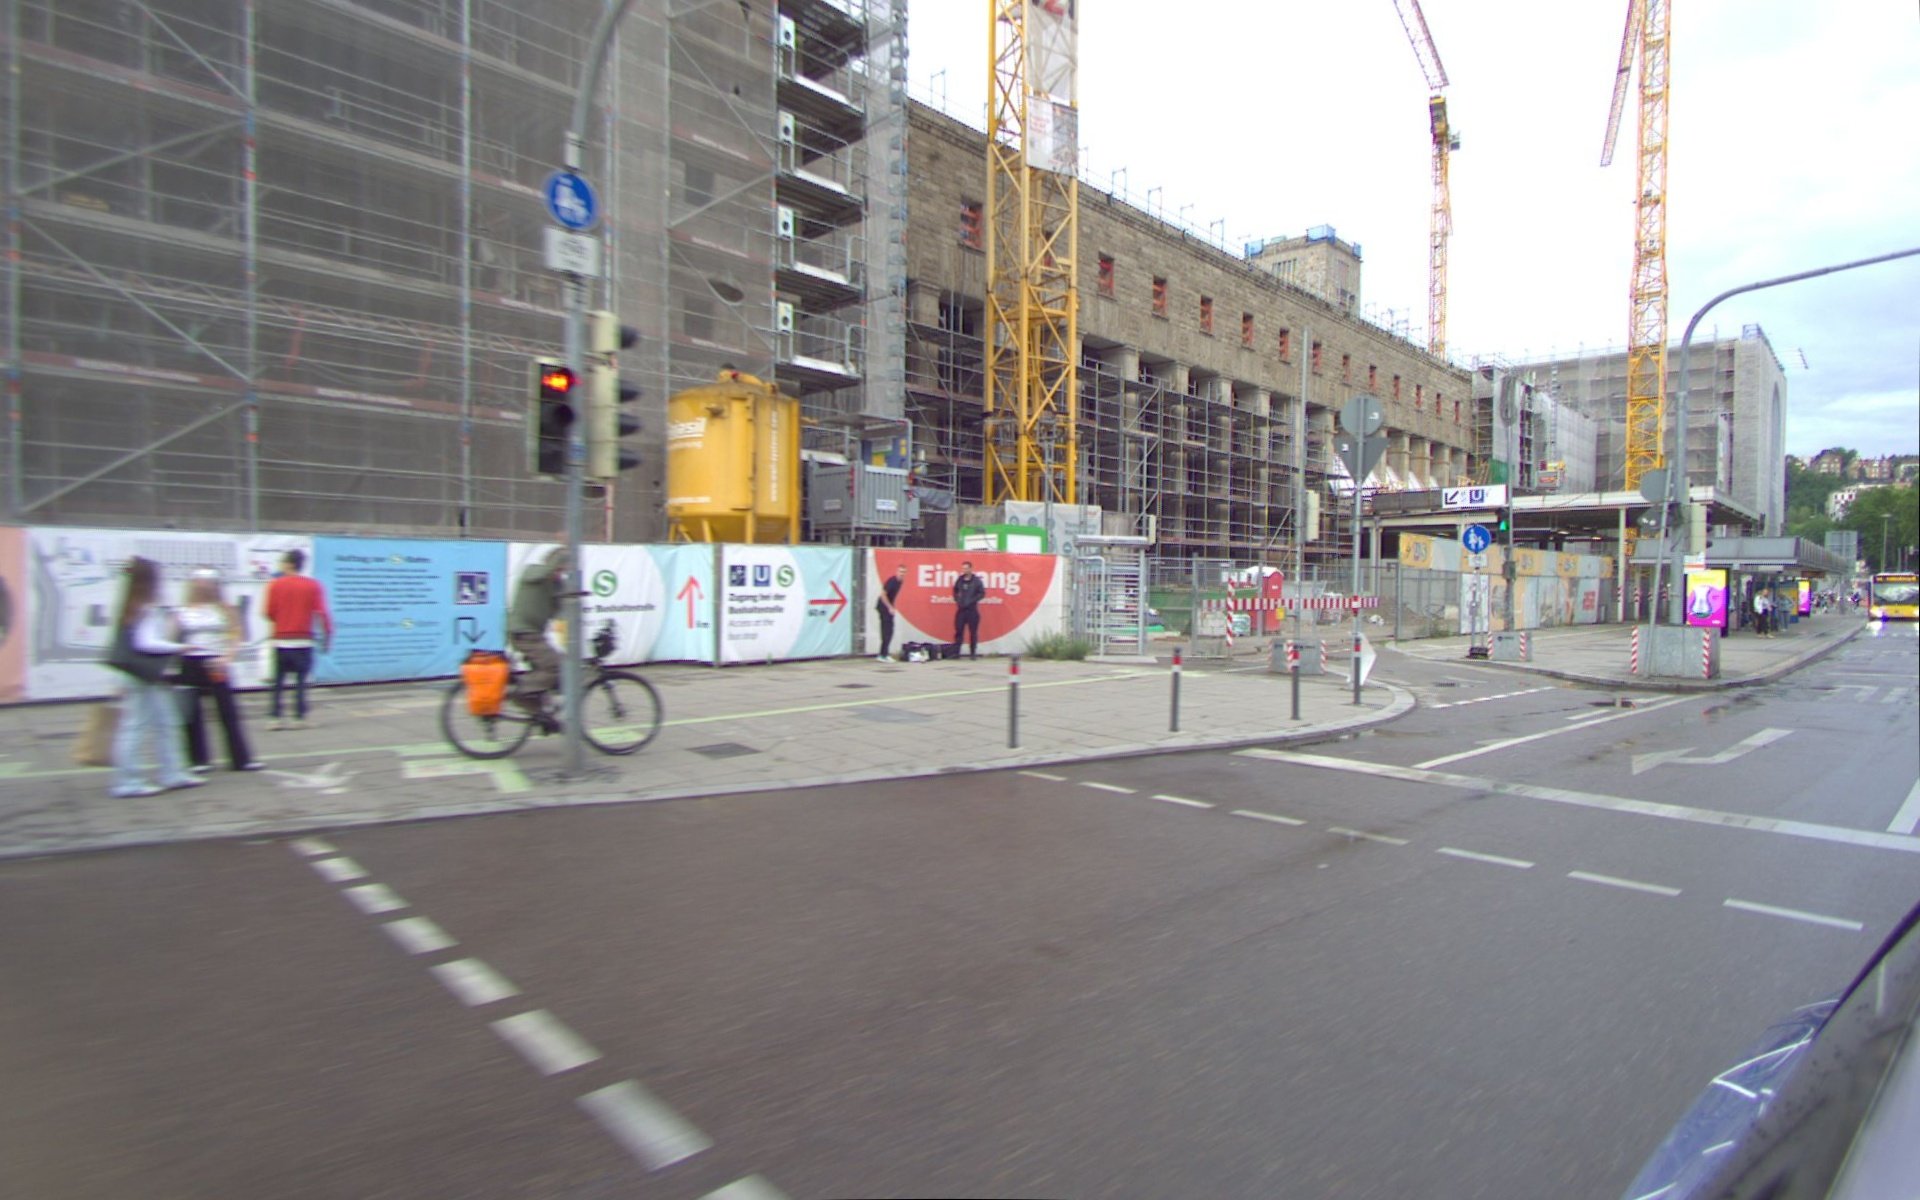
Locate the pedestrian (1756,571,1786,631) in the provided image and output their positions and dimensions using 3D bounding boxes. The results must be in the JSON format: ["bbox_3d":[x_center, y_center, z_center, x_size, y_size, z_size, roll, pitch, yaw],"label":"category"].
[{"bbox_3d":[27.786,0.023,34.663,0.732,2.038,0.637,2,1,40],"label":"pedestrian"}]

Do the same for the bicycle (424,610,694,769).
[{"bbox_3d":[-3.239,0.674,8.247,1.951,1.148,0.757,1,1,-26],"label":"bicycle"}]

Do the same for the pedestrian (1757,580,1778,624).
[{"bbox_3d":[32.494,0.073,40.732,0.548,1.714,0.544,0,1,-41],"label":"pedestrian"}]

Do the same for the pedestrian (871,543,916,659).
[{"bbox_3d":[-1.195,0.005,18.171,0.615,2.039,0.642,1,1,-20],"label":"pedestrian"}]

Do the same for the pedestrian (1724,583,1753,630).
[{"bbox_3d":[28.609,0.235,37.208,0.608,1.714,0.681,0,1,-39],"label":"pedestrian"}]

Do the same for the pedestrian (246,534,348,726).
[{"bbox_3d":[-6.364,0.270,9.708,0.730,1.749,0.713,1,0,-40],"label":"pedestrian"}]

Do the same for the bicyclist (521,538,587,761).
[{"bbox_3d":[-3.305,0.374,8.217,0.425,1.726,0.698,1,1,-26],"label":"bicyclist"}]

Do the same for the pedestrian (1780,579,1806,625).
[{"bbox_3d":[34.014,0.074,41.333,0.722,1.846,0.645,0,1,-41],"label":"pedestrian"}]

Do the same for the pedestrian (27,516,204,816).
[{"bbox_3d":[-5.414,0.362,6.553,0.790,1.776,0.816,-2,5,-37],"label":"pedestrian"}]

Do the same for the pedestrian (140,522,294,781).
[{"bbox_3d":[-5.534,0.342,7.531,0.866,1.777,0.815,0,1,-40],"label":"pedestrian"}]

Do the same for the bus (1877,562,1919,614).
[{"bbox_3d":[60.923,-0.770,64.958,2.991,3.177,7.645,2,2,43],"label":"bus"}]

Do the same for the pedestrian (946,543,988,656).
[{"bbox_3d":[0.138,-0.015,18.700,0.618,2.039,0.576,1,1,13],"label":"pedestrian"}]
